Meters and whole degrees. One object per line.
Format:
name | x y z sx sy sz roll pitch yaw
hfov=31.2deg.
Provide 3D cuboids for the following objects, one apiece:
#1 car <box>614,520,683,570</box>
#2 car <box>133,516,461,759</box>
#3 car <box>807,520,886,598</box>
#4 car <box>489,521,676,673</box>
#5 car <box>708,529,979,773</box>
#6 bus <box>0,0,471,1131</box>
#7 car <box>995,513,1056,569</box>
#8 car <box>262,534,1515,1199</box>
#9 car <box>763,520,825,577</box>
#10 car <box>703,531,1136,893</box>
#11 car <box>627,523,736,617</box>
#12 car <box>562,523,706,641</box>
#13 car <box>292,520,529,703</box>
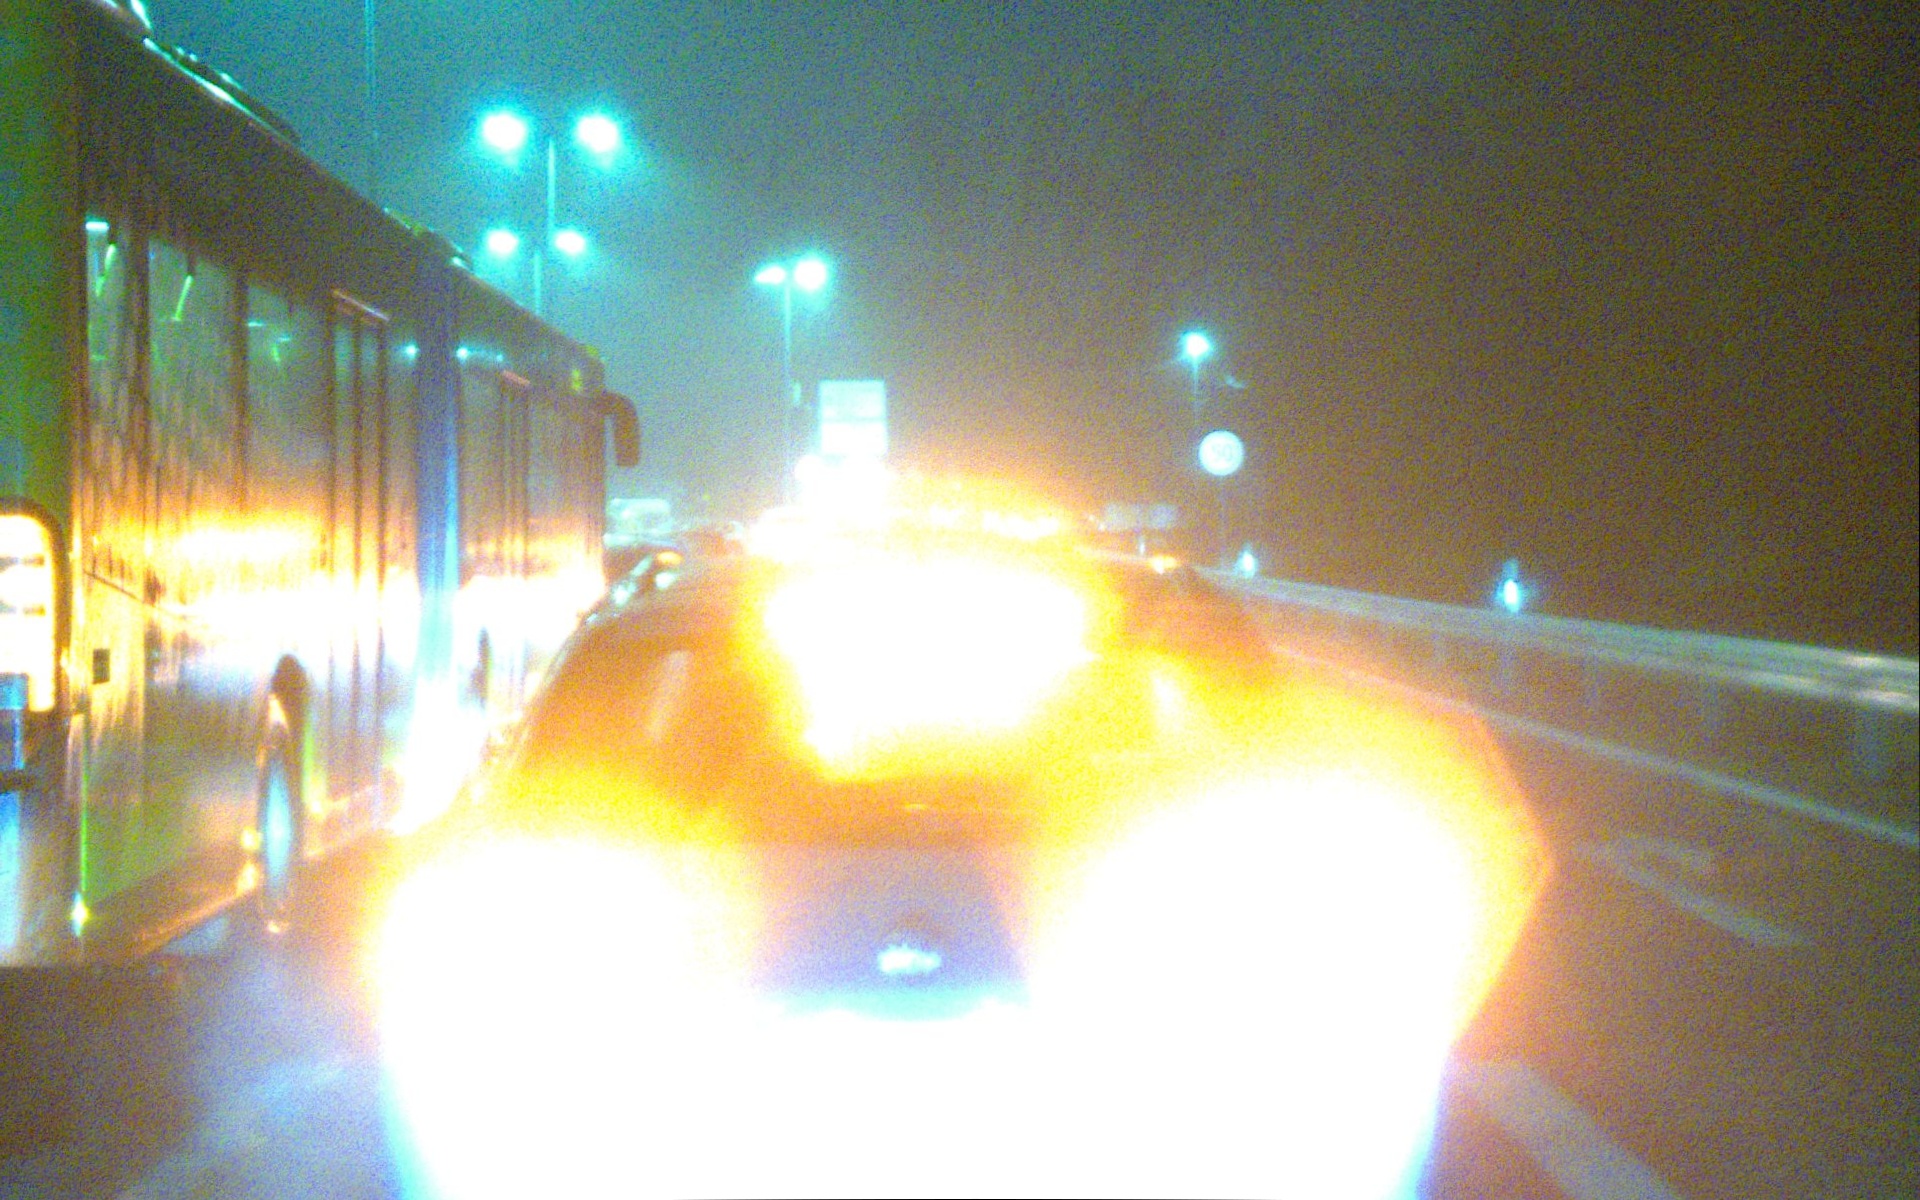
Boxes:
car | -10.457 -1.854 115.716 1.993 1.634 4.000 0 1 -1
car | -4.490 0.199 23.765 1.779 1.538 3.875 0 1 -4
car | -2.978 -1.103 91.168 1.993 2.007 4.000 1 1 -1
car | -3.993 -0.071 36.855 1.779 1.538 3.875 0 1 -3
car | -0.884 0.296 24.069 1.739 1.559 3.777 0 1 -4
bus | -3.588 -0.365 12.264 2.815 3.013 8.688 0 1 -3
car | 2.225 -2.010 117.545 1.952 1.875 4.000 1 1 -1
car | -0.049 0.608 7.288 1.821 1.479 4.568 0 1 2
car | -5.294 -1.638 110.194 1.816 1.791 3.803 1 1 -1
car | -0.265 0.407 16.194 1.731 1.444 4.725 0 1 -3
car | -4.747 -0.542 58.760 1.779 1.538 3.875 0 1 -4
car | -4.411 -0.279 46.958 1.779 1.538 3.875 0 1 -3
car | -4.884 0.055 30.994 1.779 1.538 3.875 0 1 -4
